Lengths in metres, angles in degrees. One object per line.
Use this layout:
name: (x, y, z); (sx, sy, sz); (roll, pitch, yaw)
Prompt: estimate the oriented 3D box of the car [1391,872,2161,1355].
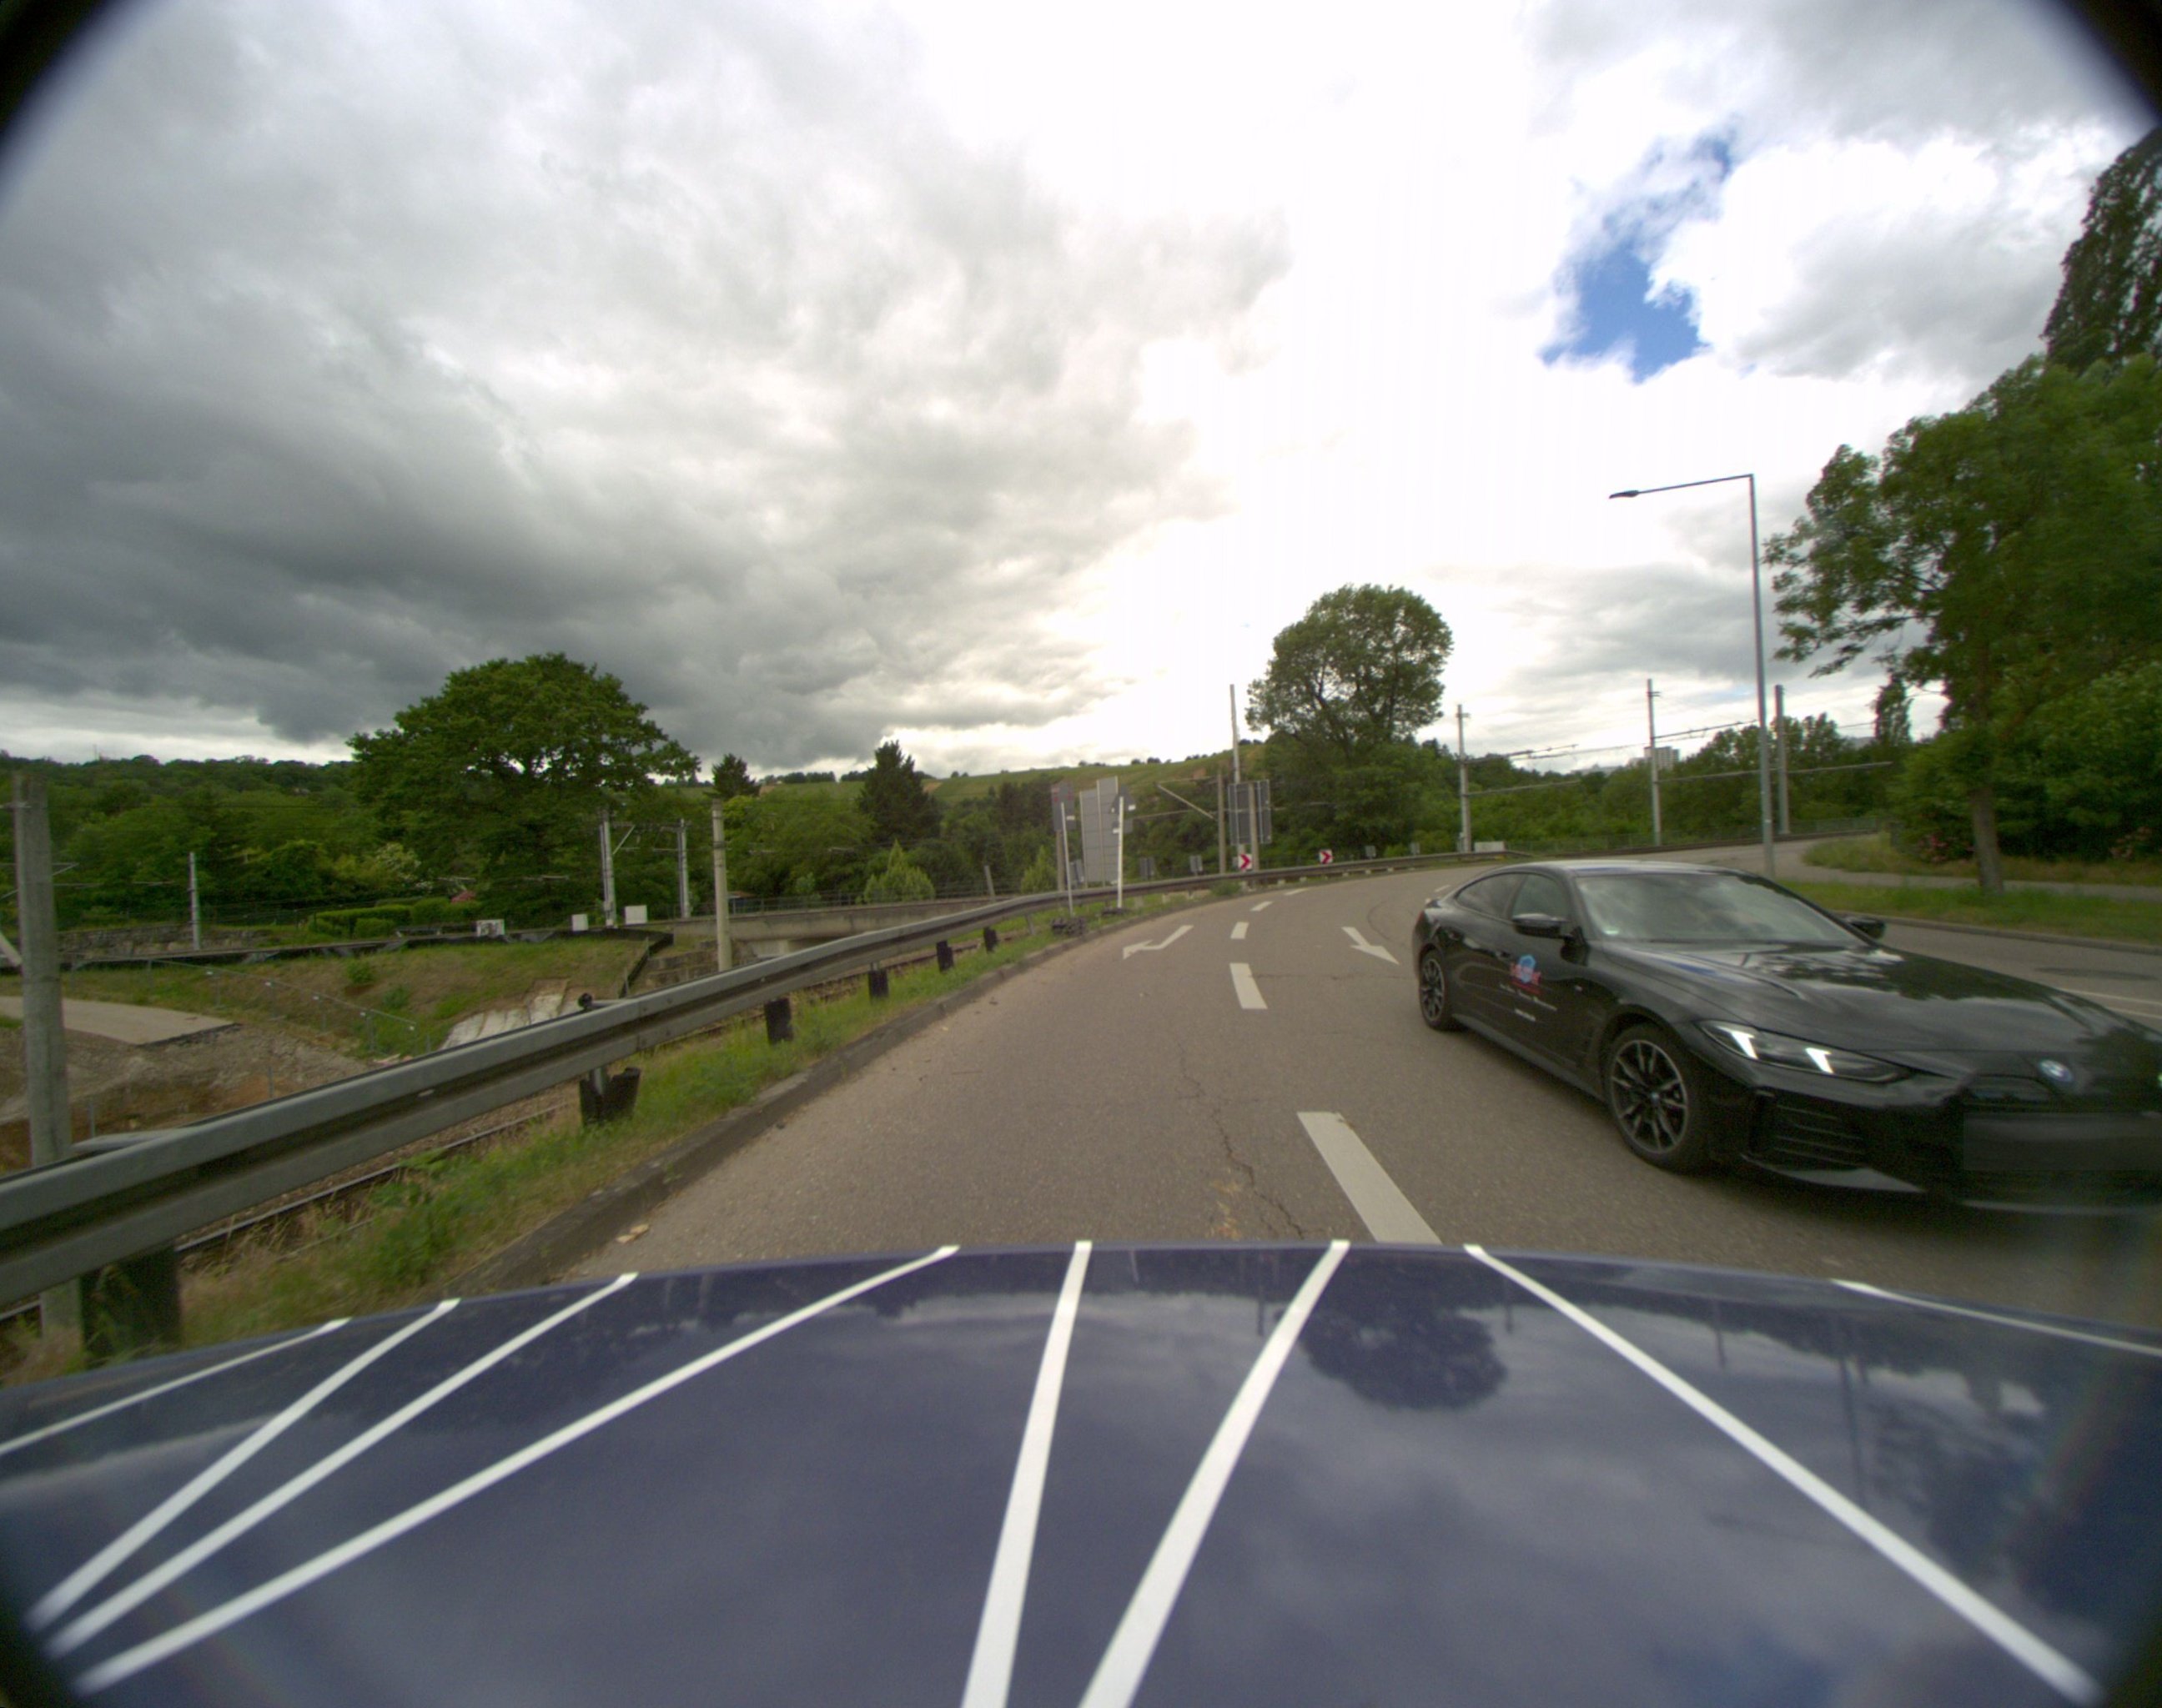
car: (3.751, 0.920, 4.993); (1.876, 1.468, 4.966); (0, 0, 6)
